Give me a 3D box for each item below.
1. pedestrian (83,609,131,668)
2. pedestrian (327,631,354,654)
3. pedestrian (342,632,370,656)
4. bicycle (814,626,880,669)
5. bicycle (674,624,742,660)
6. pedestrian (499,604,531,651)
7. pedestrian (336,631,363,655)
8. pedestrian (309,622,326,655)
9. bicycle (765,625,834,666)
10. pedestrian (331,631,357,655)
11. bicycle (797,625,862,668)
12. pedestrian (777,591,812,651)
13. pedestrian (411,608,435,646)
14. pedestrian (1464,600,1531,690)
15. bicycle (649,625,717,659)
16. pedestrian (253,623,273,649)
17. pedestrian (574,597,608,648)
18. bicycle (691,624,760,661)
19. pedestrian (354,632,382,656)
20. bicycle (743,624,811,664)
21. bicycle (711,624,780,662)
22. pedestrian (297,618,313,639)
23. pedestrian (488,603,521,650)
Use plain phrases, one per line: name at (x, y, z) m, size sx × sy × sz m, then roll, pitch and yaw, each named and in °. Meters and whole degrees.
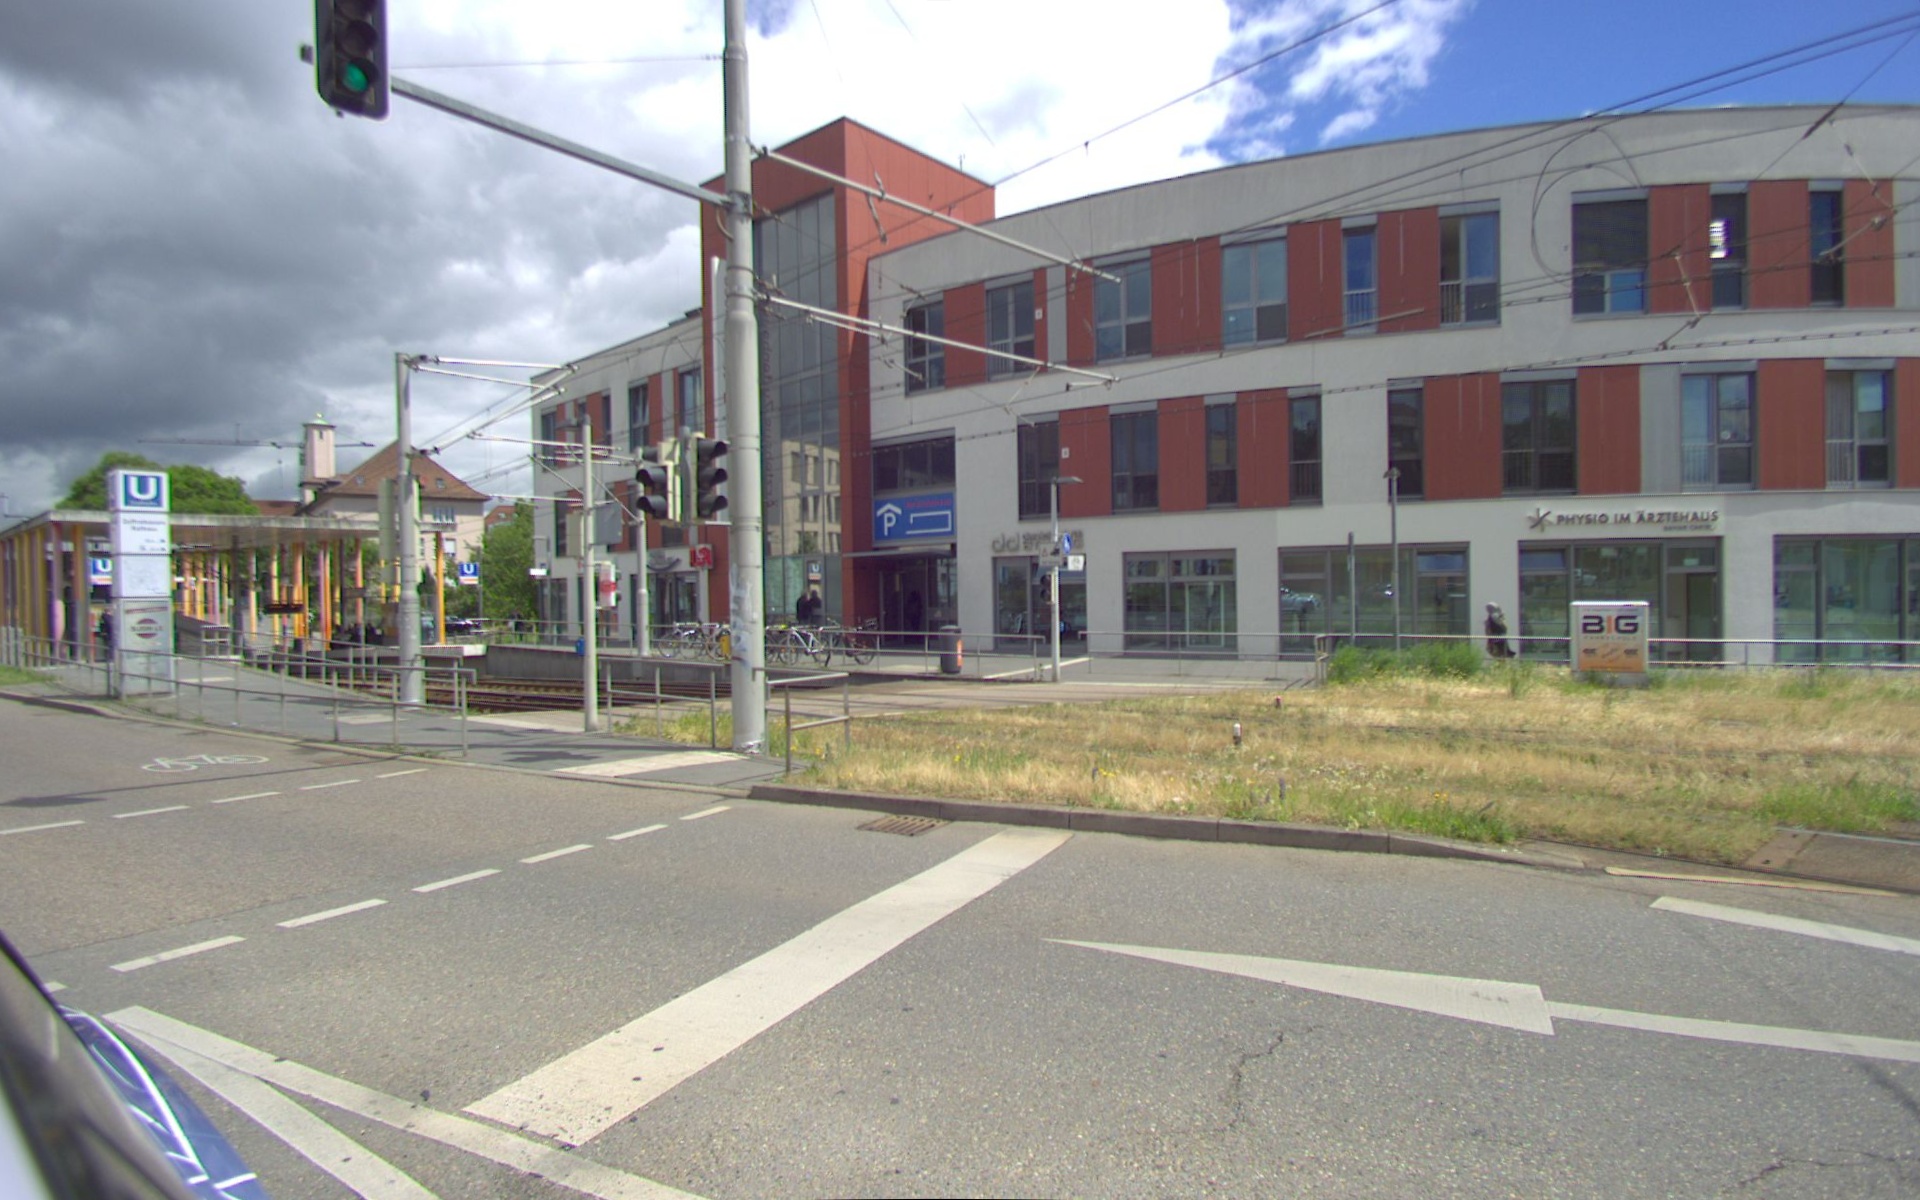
pedestrian at (-28.273, 1.256, 33.541) m, size 0.864 × 1.929 × 1.090 m, roll 0°, pitch -1°, yaw 42°
pedestrian at (-31.319, 2.130, 51.159) m, size 0.886 × 1.143 × 0.931 m, roll -2°, pitch -1°, yaw 42°
pedestrian at (-29.403, 2.126, 49.272) m, size 0.886 × 1.143 × 0.931 m, roll -2°, pitch -1°, yaw 42°
bicycle at (-2.742, 1.136, 24.676) m, size 0.428 × 0.959 × 1.716 m, roll -1°, pitch 0°, yaw 43°
bicycle at (-6.987, 1.151, 28.147) m, size 1.835 × 0.939 × 0.455 m, roll 0°, pitch 0°, yaw -41°
pedestrian at (-19.198, 1.179, 43.684) m, size 1.105 × 1.983 × 0.853 m, roll 0°, pitch -1°, yaw 39°
pedestrian at (-30.120, 2.129, 49.907) m, size 0.886 × 1.143 × 0.931 m, roll -2°, pitch -1°, yaw 42°
pedestrian at (-40.398, 2.408, 63.634) m, size 0.773 × 2.029 × 0.610 m, roll -2°, pitch -1°, yaw 34°
bicycle at (-4.060, 1.135, 25.706) m, size 0.454 × 0.942 × 1.837 m, roll -1°, pitch 0°, yaw 43°
pedestrian at (-30.810, 2.132, 50.625) m, size 0.886 × 1.143 × 0.931 m, roll -2°, pitch -1°, yaw 42°
bicycle at (-3.229, 1.135, 25.079) m, size 0.428 × 0.965 × 1.716 m, roll -1°, pitch 0°, yaw 43°
pedestrian at (-5.317, 0.661, 32.486) m, size 0.856 × 1.859 × 0.876 m, roll 0°, pitch 1°, yaw 13°
pedestrian at (-28.778, 1.439, 54.193) m, size 0.852 × 1.983 × 1.107 m, roll 1°, pitch -1°, yaw -44°
pedestrian at (12.087, 0.999, 22.802) m, size 1.104 × 1.983 × 0.862 m, roll 0°, pitch -1°, yaw 10°
bicycle at (-7.880, 1.188, 28.835) m, size 1.834 × 0.888 × 0.455 m, roll 0°, pitch 0°, yaw -41°
pedestrian at (-55.419, 2.826, 80.477) m, size 1.112 × 2.029 × 1.180 m, roll 0°, pitch -2°, yaw -44°
pedestrian at (-14.741, 0.892, 40.463) m, size 1.106 × 1.983 × 0.852 m, roll 0°, pitch -1°, yaw 43°
bicycle at (-6.374, 1.148, 27.588) m, size 1.835 × 0.929 × 0.455 m, roll 0°, pitch 0°, yaw -42°
pedestrian at (-28.554, 2.126, 48.797) m, size 0.886 × 1.143 × 0.931 m, roll -2°, pitch -1°, yaw 42°
bicycle at (-4.744, 1.124, 26.341) m, size 0.454 × 0.970 × 1.837 m, roll -1°, pitch 0°, yaw 43°
bicycle at (-5.702, 1.135, 26.989) m, size 1.836 × 0.946 × 0.455 m, roll 0°, pitch 0°, yaw -45°
pedestrian at (-46.788, 2.041, 72.308) m, size 0.902 × 1.461 × 0.735 m, roll -2°, pitch -1°, yaw 39°
pedestrian at (-19.488, 1.139, 43.313) m, size 1.105 × 1.983 × 0.853 m, roll 0°, pitch -1°, yaw 39°
